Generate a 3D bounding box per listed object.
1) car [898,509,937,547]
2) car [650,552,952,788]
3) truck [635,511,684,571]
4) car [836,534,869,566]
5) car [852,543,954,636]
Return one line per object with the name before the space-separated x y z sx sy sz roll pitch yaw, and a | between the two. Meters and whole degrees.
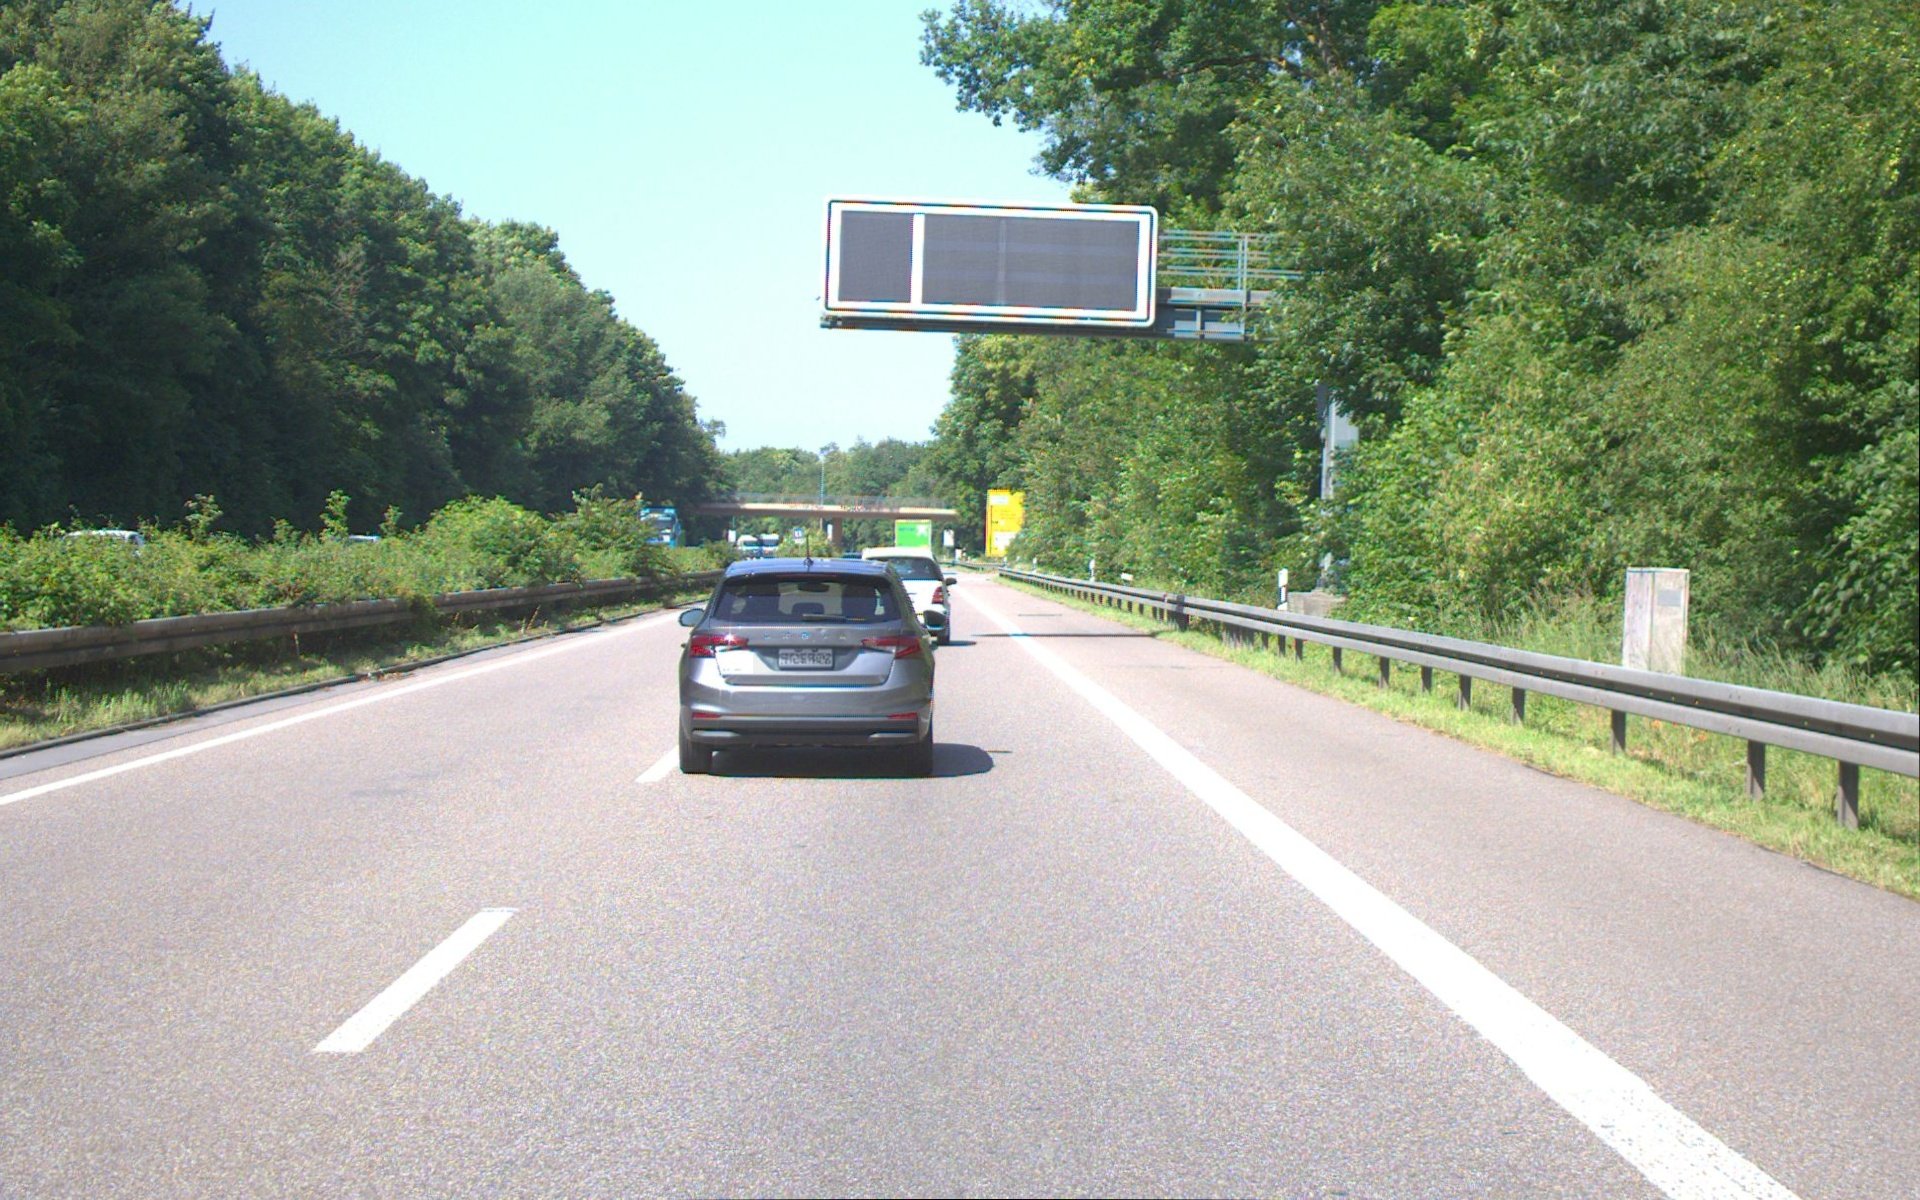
car | -3.004 -5.123 245.875 2.748 2.645 4.000 1 1 0
car | -1.025 0.423 23.842 1.840 1.467 3.623 1 1 1
truck | -18.713 -3.657 214.121 2.646 3.693 4.000 1 0 0
car | -6.875 -3.213 220.440 1.993 2.007 4.000 1 1 0
car | -0.896 -0.195 55.842 1.522 1.442 3.340 1 1 1
